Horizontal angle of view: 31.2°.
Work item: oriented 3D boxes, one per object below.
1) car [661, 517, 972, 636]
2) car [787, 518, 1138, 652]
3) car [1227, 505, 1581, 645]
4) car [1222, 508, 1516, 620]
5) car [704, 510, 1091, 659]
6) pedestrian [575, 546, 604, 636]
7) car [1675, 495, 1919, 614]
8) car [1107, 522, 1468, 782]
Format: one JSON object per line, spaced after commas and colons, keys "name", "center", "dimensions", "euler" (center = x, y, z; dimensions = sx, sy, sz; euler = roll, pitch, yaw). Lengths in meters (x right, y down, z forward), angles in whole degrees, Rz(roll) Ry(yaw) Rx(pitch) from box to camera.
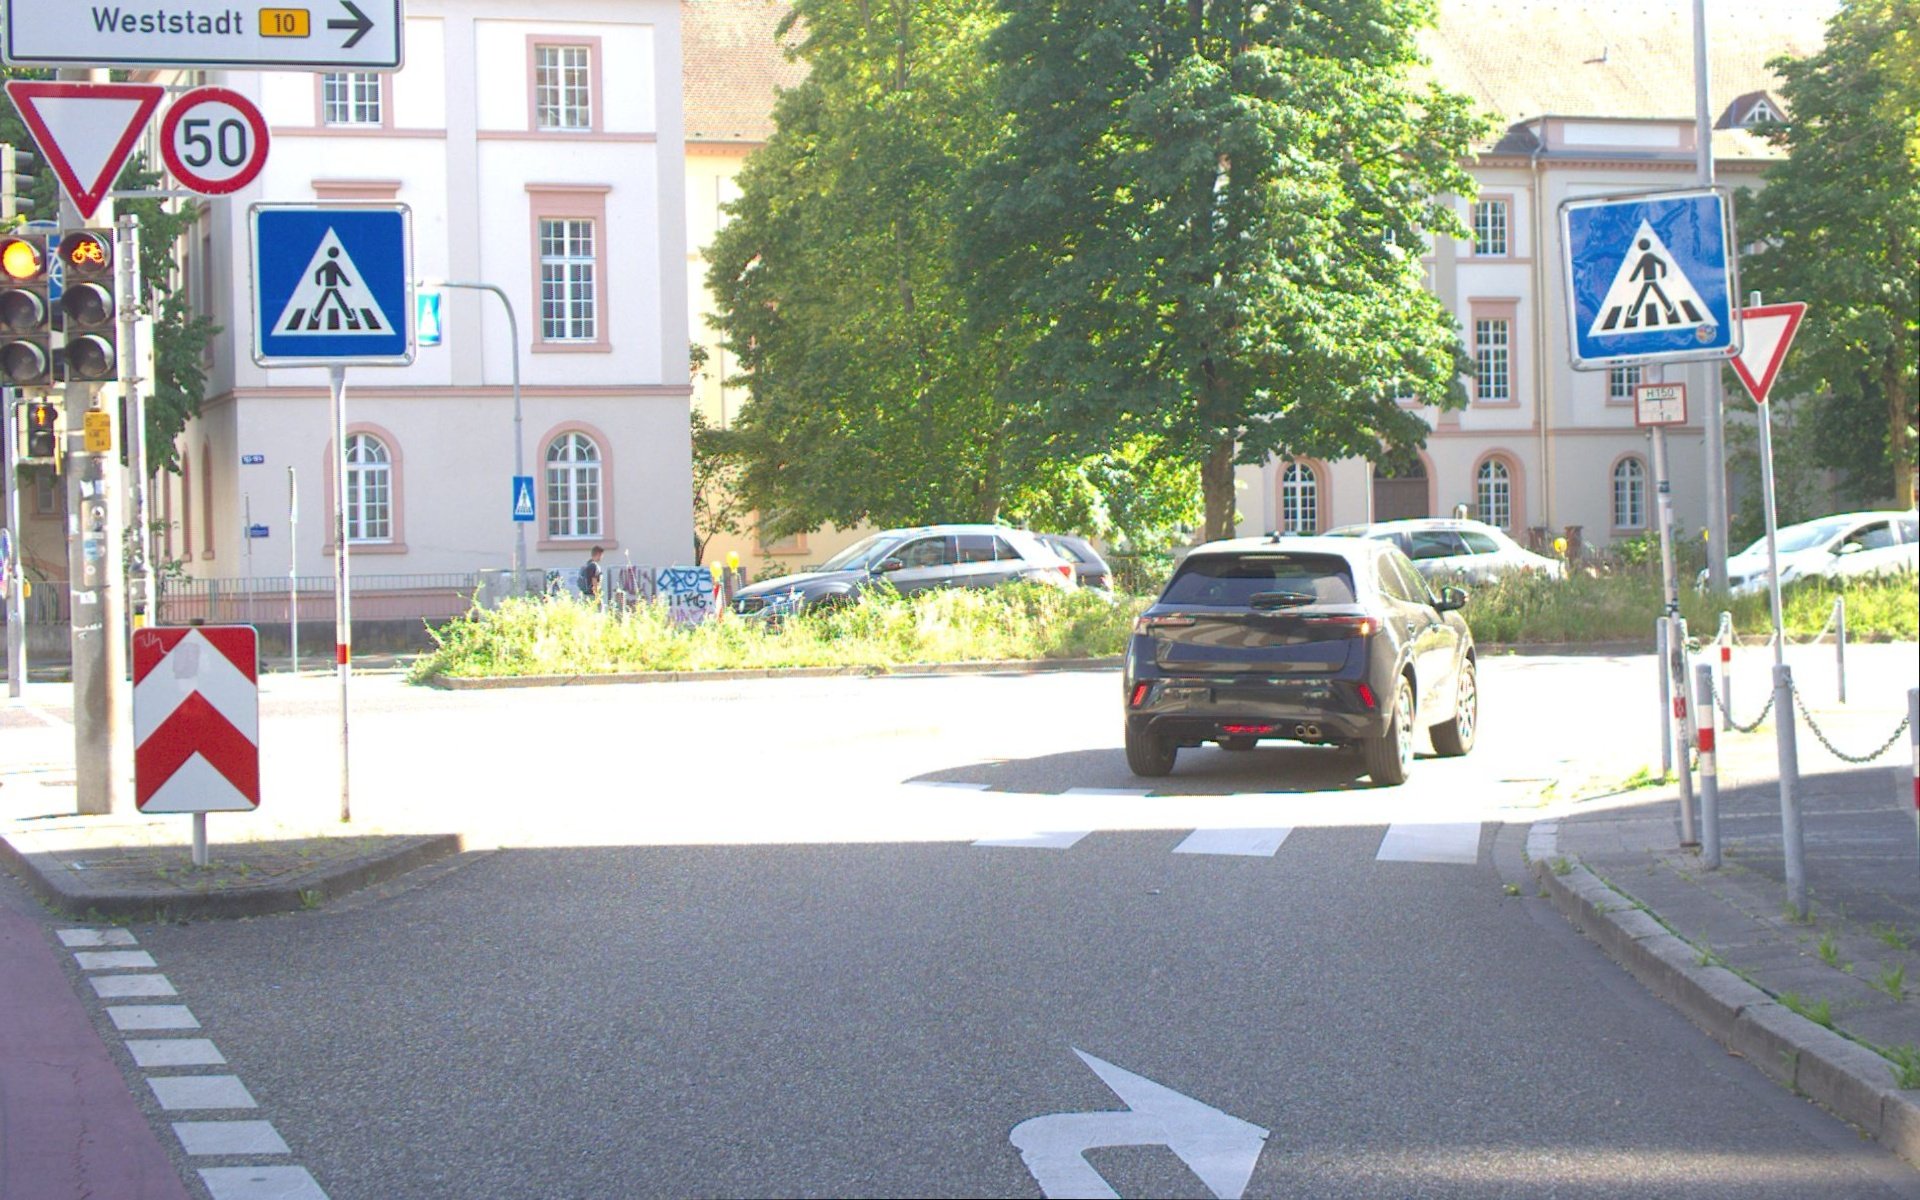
{"name": "car", "center": [-2.090, -0.363, 50.120], "dimensions": [4.114, 1.596, 1.822], "euler": [-2, 1, -25]}
{"name": "car", "center": [0.037, -0.215, 44.350], "dimensions": [4.114, 1.596, 1.822], "euler": [-2, 1, -25]}
{"name": "car", "center": [5.605, -0.337, 43.477], "dimensions": [3.986, 1.638, 1.924], "euler": [-2, 1, -23]}
{"name": "car", "center": [6.289, -0.571, 52.858], "dimensions": [4.114, 1.596, 1.822], "euler": [-2, 1, -25]}
{"name": "car", "center": [-0.726, -0.205, 40.196], "dimensions": [4.114, 1.596, 1.822], "euler": [-2, 1, -25]}
{"name": "pedestrian", "center": [-6.663, -0.162, 61.874], "dimensions": [0.440, 1.610, 0.467], "euler": [1, 0, -12]}
{"name": "car", "center": [11.923, -0.636, 46.380], "dimensions": [4.173, 1.503, 1.822], "euler": [-2, 1, -25]}
{"name": "car", "center": [2.236, 0.271, 22.673], "dimensions": [1.746, 1.568, 3.555], "euler": [0, 1, 16]}
